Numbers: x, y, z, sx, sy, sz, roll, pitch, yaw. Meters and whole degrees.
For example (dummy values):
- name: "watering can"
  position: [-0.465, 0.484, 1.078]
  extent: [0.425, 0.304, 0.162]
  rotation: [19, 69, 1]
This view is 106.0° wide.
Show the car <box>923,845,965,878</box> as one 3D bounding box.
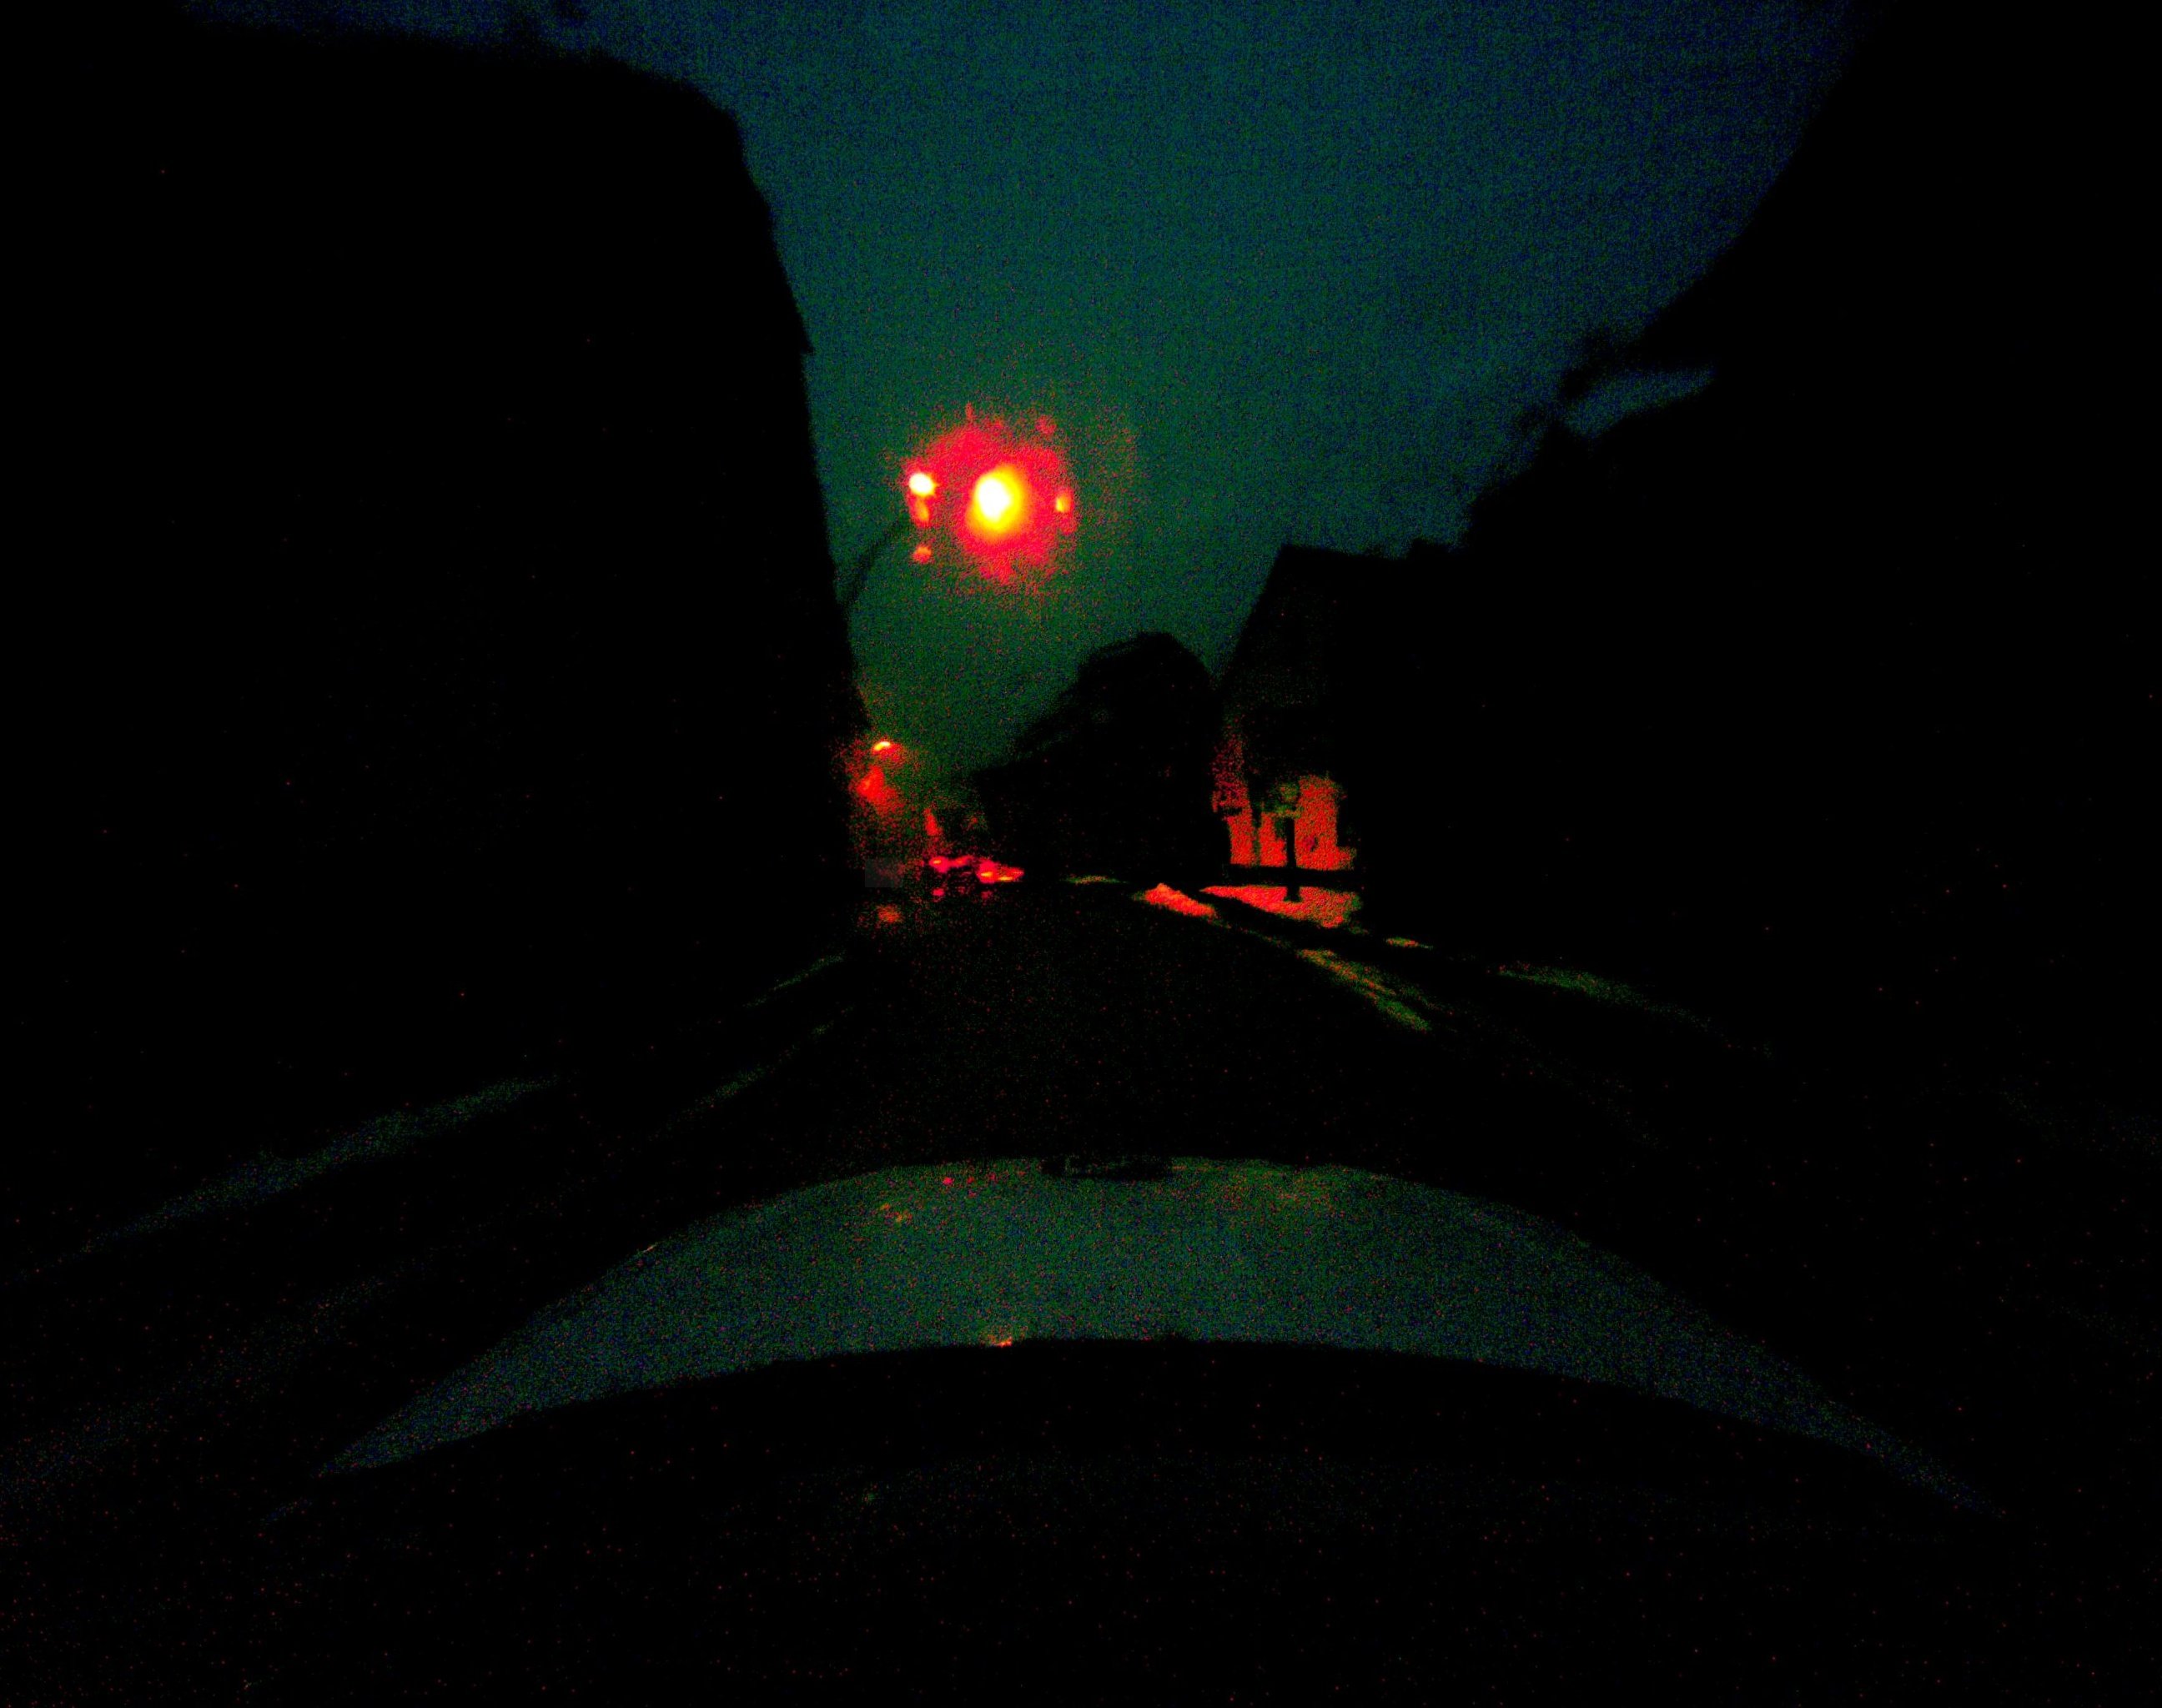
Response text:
- name: "car"
  position: [-7.694, 0.445, 45.459]
  extent: [1.996, 1.728, 3.980]
  rotation: [0, -1, -14]

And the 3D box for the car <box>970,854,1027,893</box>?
- name: "car"
  position: [-3.552, 0.803, 34.384]
  extent: [1.995, 1.508, 3.983]
  rotation: [0, -1, -12]

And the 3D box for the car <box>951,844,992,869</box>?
- name: "car"
  position: [-7.116, 0.174, 52.721]
  extent: [1.915, 1.481, 4.257]
  rotation: [-2, 1, -17]
